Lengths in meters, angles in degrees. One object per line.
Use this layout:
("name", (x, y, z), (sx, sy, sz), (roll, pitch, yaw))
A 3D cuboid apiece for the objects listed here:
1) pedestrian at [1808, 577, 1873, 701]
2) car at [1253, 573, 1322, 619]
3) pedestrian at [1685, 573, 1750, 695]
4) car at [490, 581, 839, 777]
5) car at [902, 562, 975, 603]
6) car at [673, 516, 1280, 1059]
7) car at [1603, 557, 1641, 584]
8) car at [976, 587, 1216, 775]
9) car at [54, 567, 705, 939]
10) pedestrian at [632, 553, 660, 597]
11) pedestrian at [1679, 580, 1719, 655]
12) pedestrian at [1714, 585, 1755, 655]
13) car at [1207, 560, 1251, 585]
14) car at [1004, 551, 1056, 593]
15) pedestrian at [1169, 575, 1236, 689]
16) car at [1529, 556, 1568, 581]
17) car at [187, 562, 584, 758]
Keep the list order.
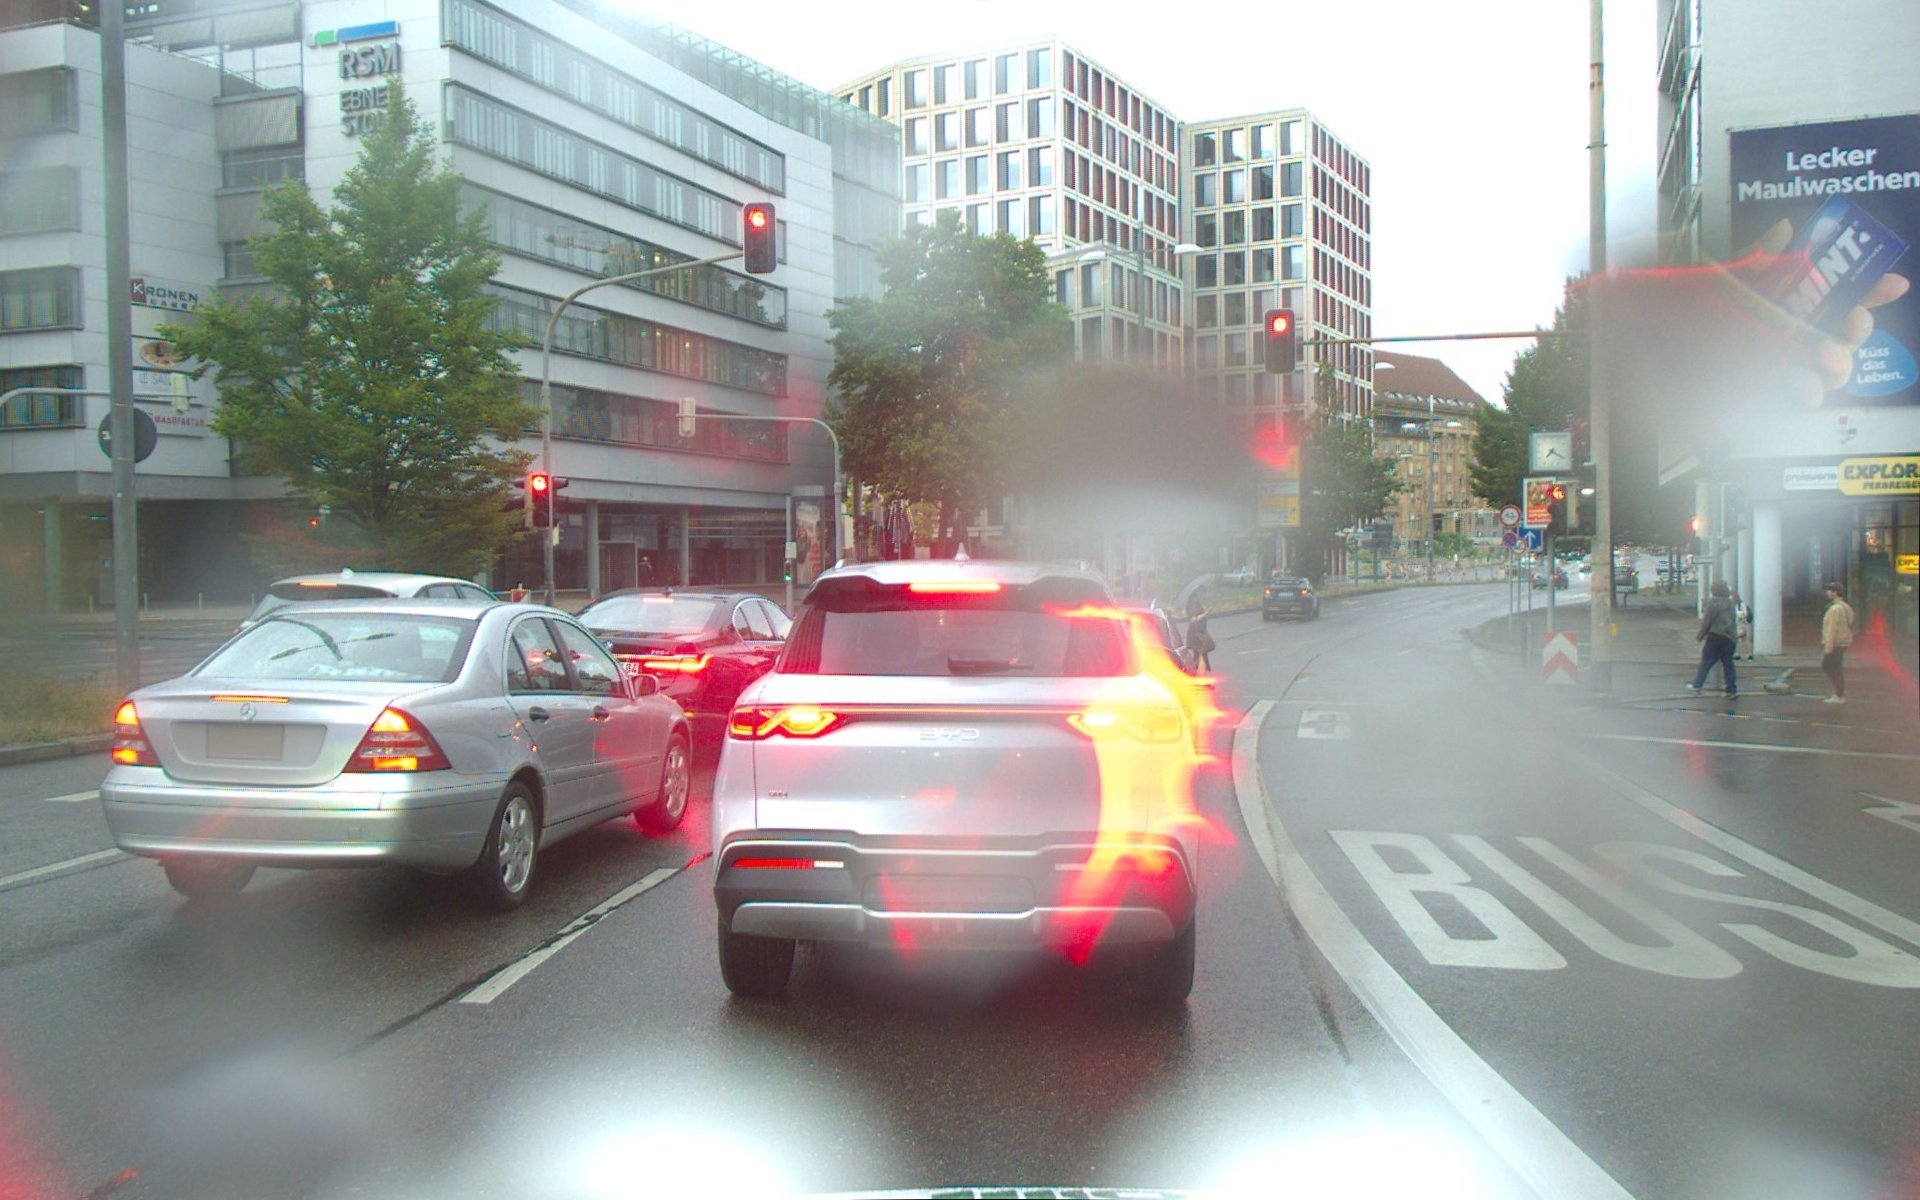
("pedestrian", (13.220, 0.576, 24.849), (0.712, 1.830, 0.740), (0, 0, 15))
("car", (12.025, -0.177, 60.567), (1.952, 1.579, 4.002), (1, 1, 18))
("pedestrian", (11.595, 0.506, 25.332), (0.795, 1.830, 0.711), (0, 0, 15))
("car", (-2.552, 0.613, 15.346), (1.913, 1.557, 4.004), (0, 0, 10))
("car", (-0.955, -0.816, 74.587), (1.952, 1.735, 4.001), (1, 2, 21))
("car", (0.134, 0.570, 7.567), (1.952, 1.739, 4.484), (0, 1, 2))
("car", (46.608, -2.085, 116.426), (2.007, 1.796, 4.351), (2, 1, 27))
("car", (1.436, 0.657, 15.906), (1.913, 1.557, 4.004), (0, 0, 10))
("car", (-2.727, 0.601, 8.892), (1.646, 1.512, 4.200), (0, 1, 6))
("pedestrian", (-12.784, -1.002, 67.347), (0.712, 1.757, 0.925), (0, 0, 21))
("pedestrian", (16.789, 0.393, 37.590), (0.712, 1.698, 0.691), (0, -1, 15))
("pedestrian", (17.458, 0.446, 37.281), (0.712, 1.551, 0.760), (0, -1, 15))
("car", (19.504, -2.012, 119.857), (1.954, 1.735, 4.305), (1, 2, 26))
("car", (3.868, -1.493, 90.504), (1.700, 2.199, 4.496), (1, 0, 17))
("pedestrian", (3.843, 0.494, 26.244), (0.904, 1.768, 0.729), (0, 0, -6))
("car", (37.680, -1.986, 105.852), (1.873, 1.536, 4.352), (2, 1, 26))
("car", (-5.320, 0.480, 15.938), (1.844, 1.624, 4.004), (0, 1, 11))
